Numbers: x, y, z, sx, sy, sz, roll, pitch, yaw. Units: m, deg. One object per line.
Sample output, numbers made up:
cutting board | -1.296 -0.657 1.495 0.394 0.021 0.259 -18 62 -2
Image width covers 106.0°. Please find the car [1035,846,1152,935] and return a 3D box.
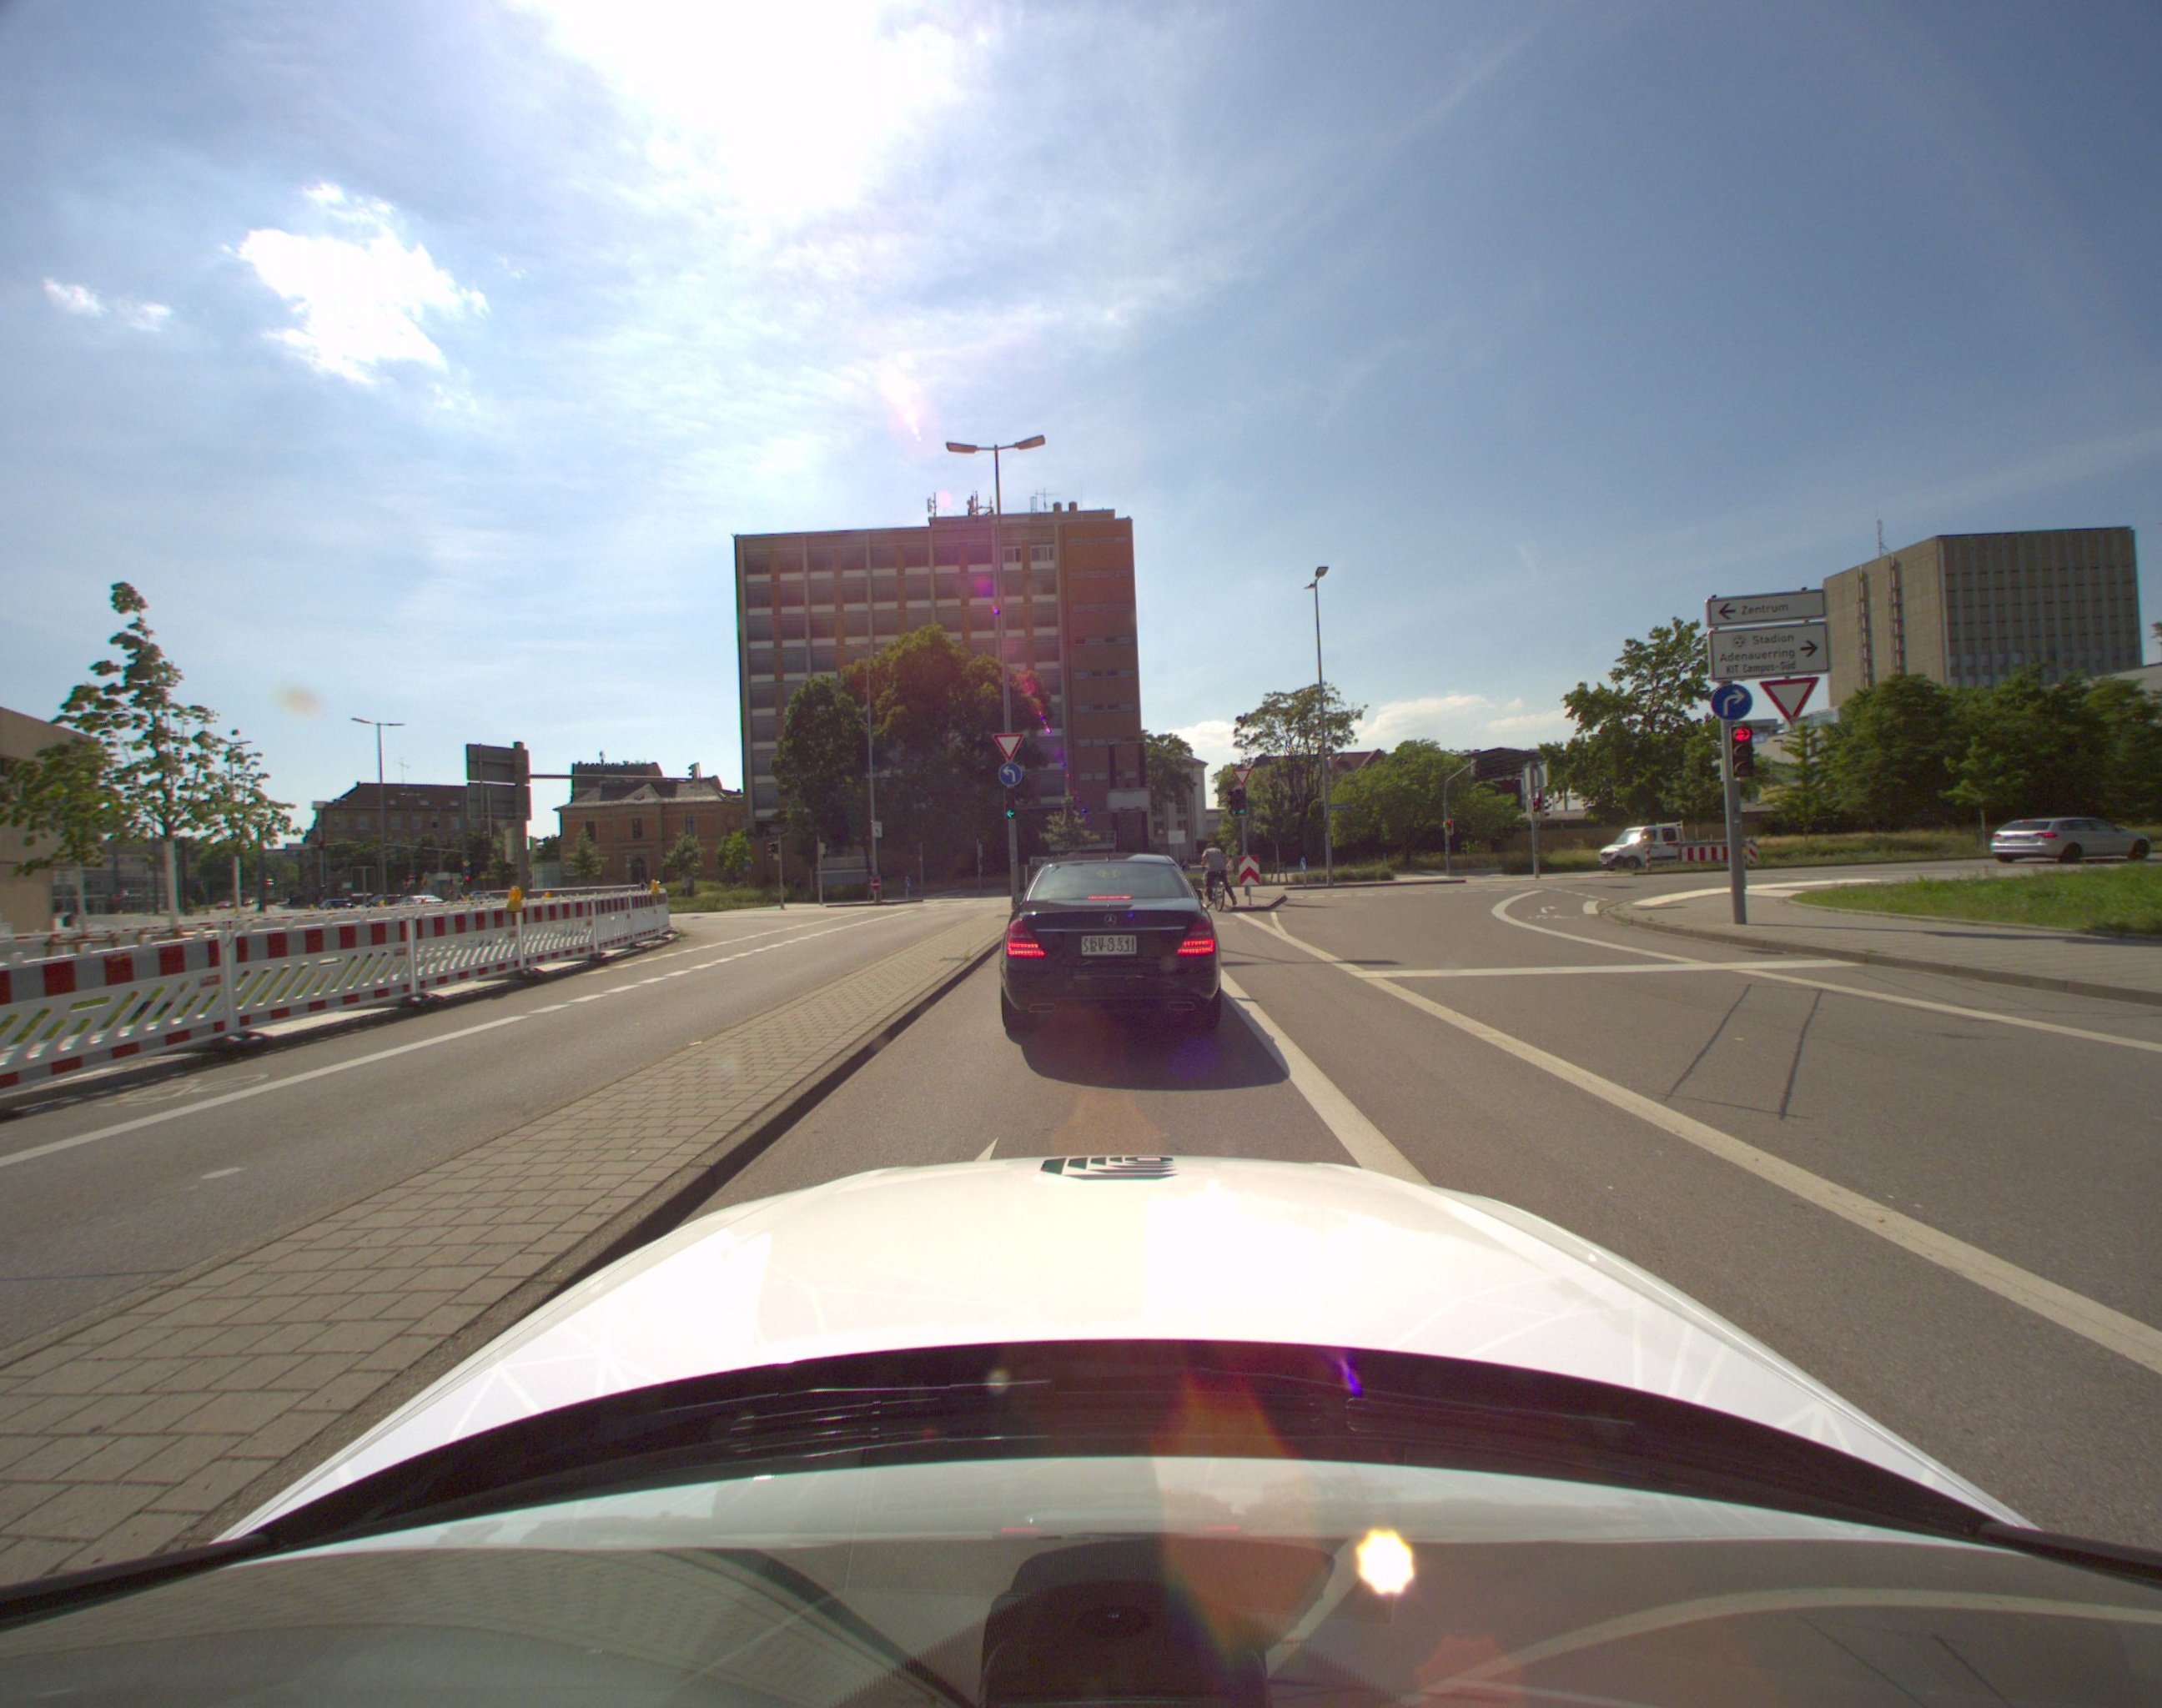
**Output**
car | 0.276 0.635 15.940 1.986 1.508 4.001 0 -1 2

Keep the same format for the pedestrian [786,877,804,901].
pedestrian | -20.970 2.546 59.792 0.790 1.725 0.878 -3 -1 24

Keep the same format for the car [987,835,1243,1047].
car | 0.316 0.655 8.304 1.852 1.530 4.715 -1 -1 2

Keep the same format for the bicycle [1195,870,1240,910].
bicycle | 3.509 0.902 21.062 0.691 0.946 1.955 0 -1 -4

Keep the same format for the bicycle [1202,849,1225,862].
bicycle | 16.964 0.241 104.339 2.813 1.500 0.842 -3 0 1

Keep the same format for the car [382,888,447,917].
car | -47.944 3.494 58.585 3.951 1.816 2.011 -3 -1 24

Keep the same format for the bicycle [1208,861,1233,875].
bicycle | 16.807 1.683 97.986 2.813 1.537 0.842 -3 0 1

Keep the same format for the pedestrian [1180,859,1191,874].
pedestrian | 8.199 0.968 63.726 0.788 1.214 0.759 -1 -1 8

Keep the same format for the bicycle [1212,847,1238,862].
bicycle | 16.803 0.088 94.968 2.813 1.649 0.842 -3 0 1

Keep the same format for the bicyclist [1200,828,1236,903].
bicyclist | 3.506 0.291 20.945 0.684 1.878 0.858 -1 -1 -5

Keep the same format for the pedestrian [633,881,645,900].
pedestrian | -37.882 3.137 69.861 0.642 1.661 0.654 -1 -1 28

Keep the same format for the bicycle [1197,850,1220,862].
bicycle | 16.618 0.255 105.895 2.812 1.480 0.842 -3 0 2

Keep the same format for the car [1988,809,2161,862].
car | 31.363 -0.572 25.735 4.158 1.420 1.579 -3 0 -10

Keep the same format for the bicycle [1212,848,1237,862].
bicycle | 17.100 0.111 97.233 2.813 1.587 0.842 -3 0 1

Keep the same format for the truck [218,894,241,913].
truck | -183.137 10.638 175.136 7.827 3.730 3.093 -4 -1 41

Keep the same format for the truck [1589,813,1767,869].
truck | 29.931 -0.603 41.025 6.997 2.356 2.414 -3 -2 2

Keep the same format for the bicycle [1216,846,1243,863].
bicycle | 17.042 0.081 93.568 2.813 1.744 0.842 -3 0 1

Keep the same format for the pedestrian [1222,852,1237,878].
pedestrian | 9.495 0.703 52.211 0.807 1.579 0.693 -3 -1 3

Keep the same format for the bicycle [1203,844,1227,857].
bicycle | 16.748 -0.445 101.950 2.813 1.559 0.842 -3 0 1

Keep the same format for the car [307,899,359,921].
car | -55.543 4.160 60.451 3.948 1.510 1.811 -3 -1 32
